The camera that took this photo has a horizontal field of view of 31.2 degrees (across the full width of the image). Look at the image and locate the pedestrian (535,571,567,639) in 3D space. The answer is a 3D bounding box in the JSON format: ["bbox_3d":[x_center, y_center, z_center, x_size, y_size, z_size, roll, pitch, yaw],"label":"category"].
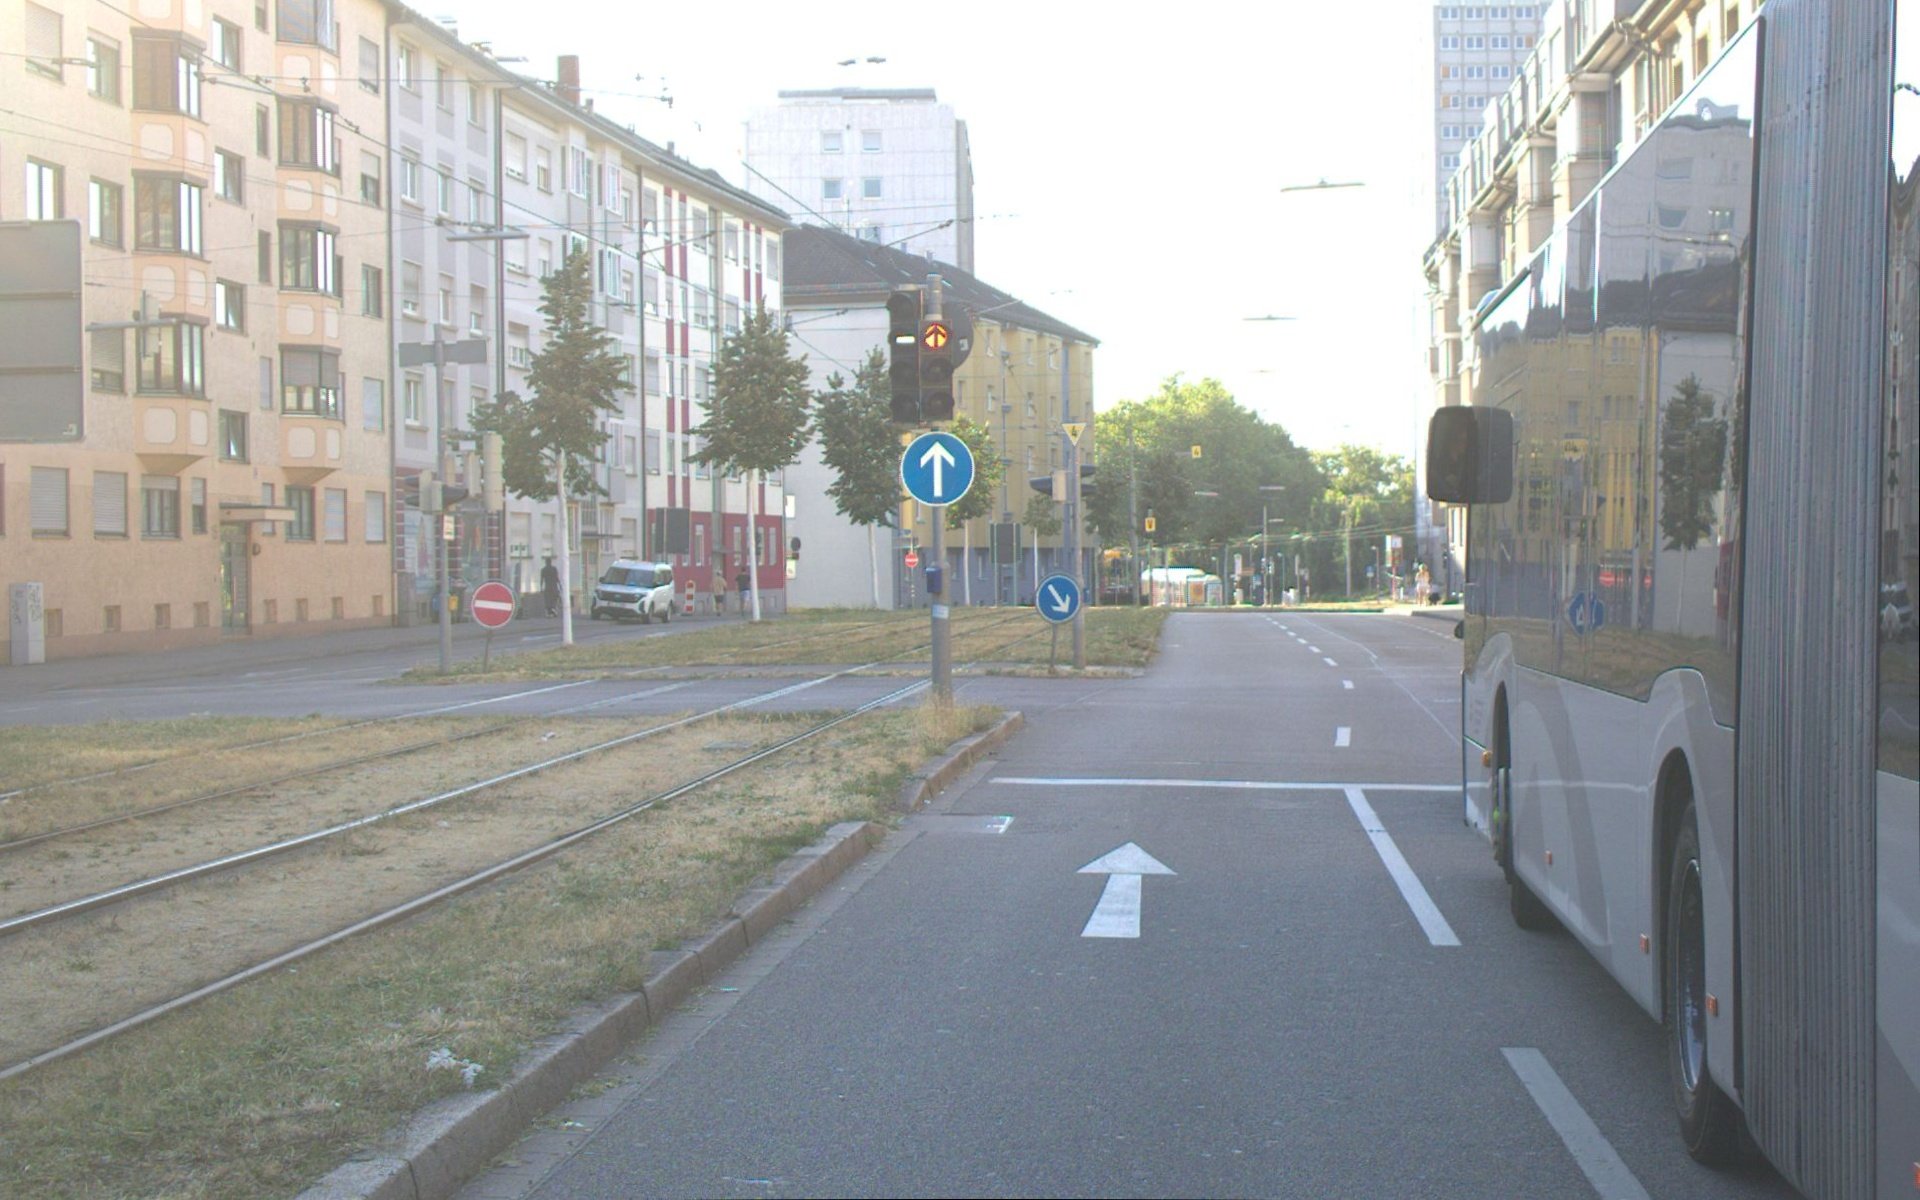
[{"bbox_3d":[-12.110,0.142,101.850,0.786,2.007,0.891,-1,0,1],"label":"pedestrian"}]

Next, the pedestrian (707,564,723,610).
[{"bbox_3d":[-8.785,-0.476,123.189,0.495,1.652,0.408,-1,0,5],"label":"pedestrian"}]

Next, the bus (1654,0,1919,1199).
[{"bbox_3d":[2.712,-0.019,3.639,2.739,3.045,8.852,1,1,4],"label":"bus"}]

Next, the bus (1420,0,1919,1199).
[{"bbox_3d":[3.369,-0.120,12.634,2.739,3.045,9.130,1,1,4],"label":"bus"}]

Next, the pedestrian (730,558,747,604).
[{"bbox_3d":[-7.948,-0.676,123.354,0.495,1.652,0.408,-1,0,5],"label":"pedestrian"}]

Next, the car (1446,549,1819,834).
[{"bbox_3d":[4.046,0.492,21.260,1.770,1.570,4.085,-1,1,4],"label":"car"}]

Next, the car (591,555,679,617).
[{"bbox_3d":[-9.712,-0.408,103.050,1.812,1.791,4.244,1,0,6],"label":"car"}]
